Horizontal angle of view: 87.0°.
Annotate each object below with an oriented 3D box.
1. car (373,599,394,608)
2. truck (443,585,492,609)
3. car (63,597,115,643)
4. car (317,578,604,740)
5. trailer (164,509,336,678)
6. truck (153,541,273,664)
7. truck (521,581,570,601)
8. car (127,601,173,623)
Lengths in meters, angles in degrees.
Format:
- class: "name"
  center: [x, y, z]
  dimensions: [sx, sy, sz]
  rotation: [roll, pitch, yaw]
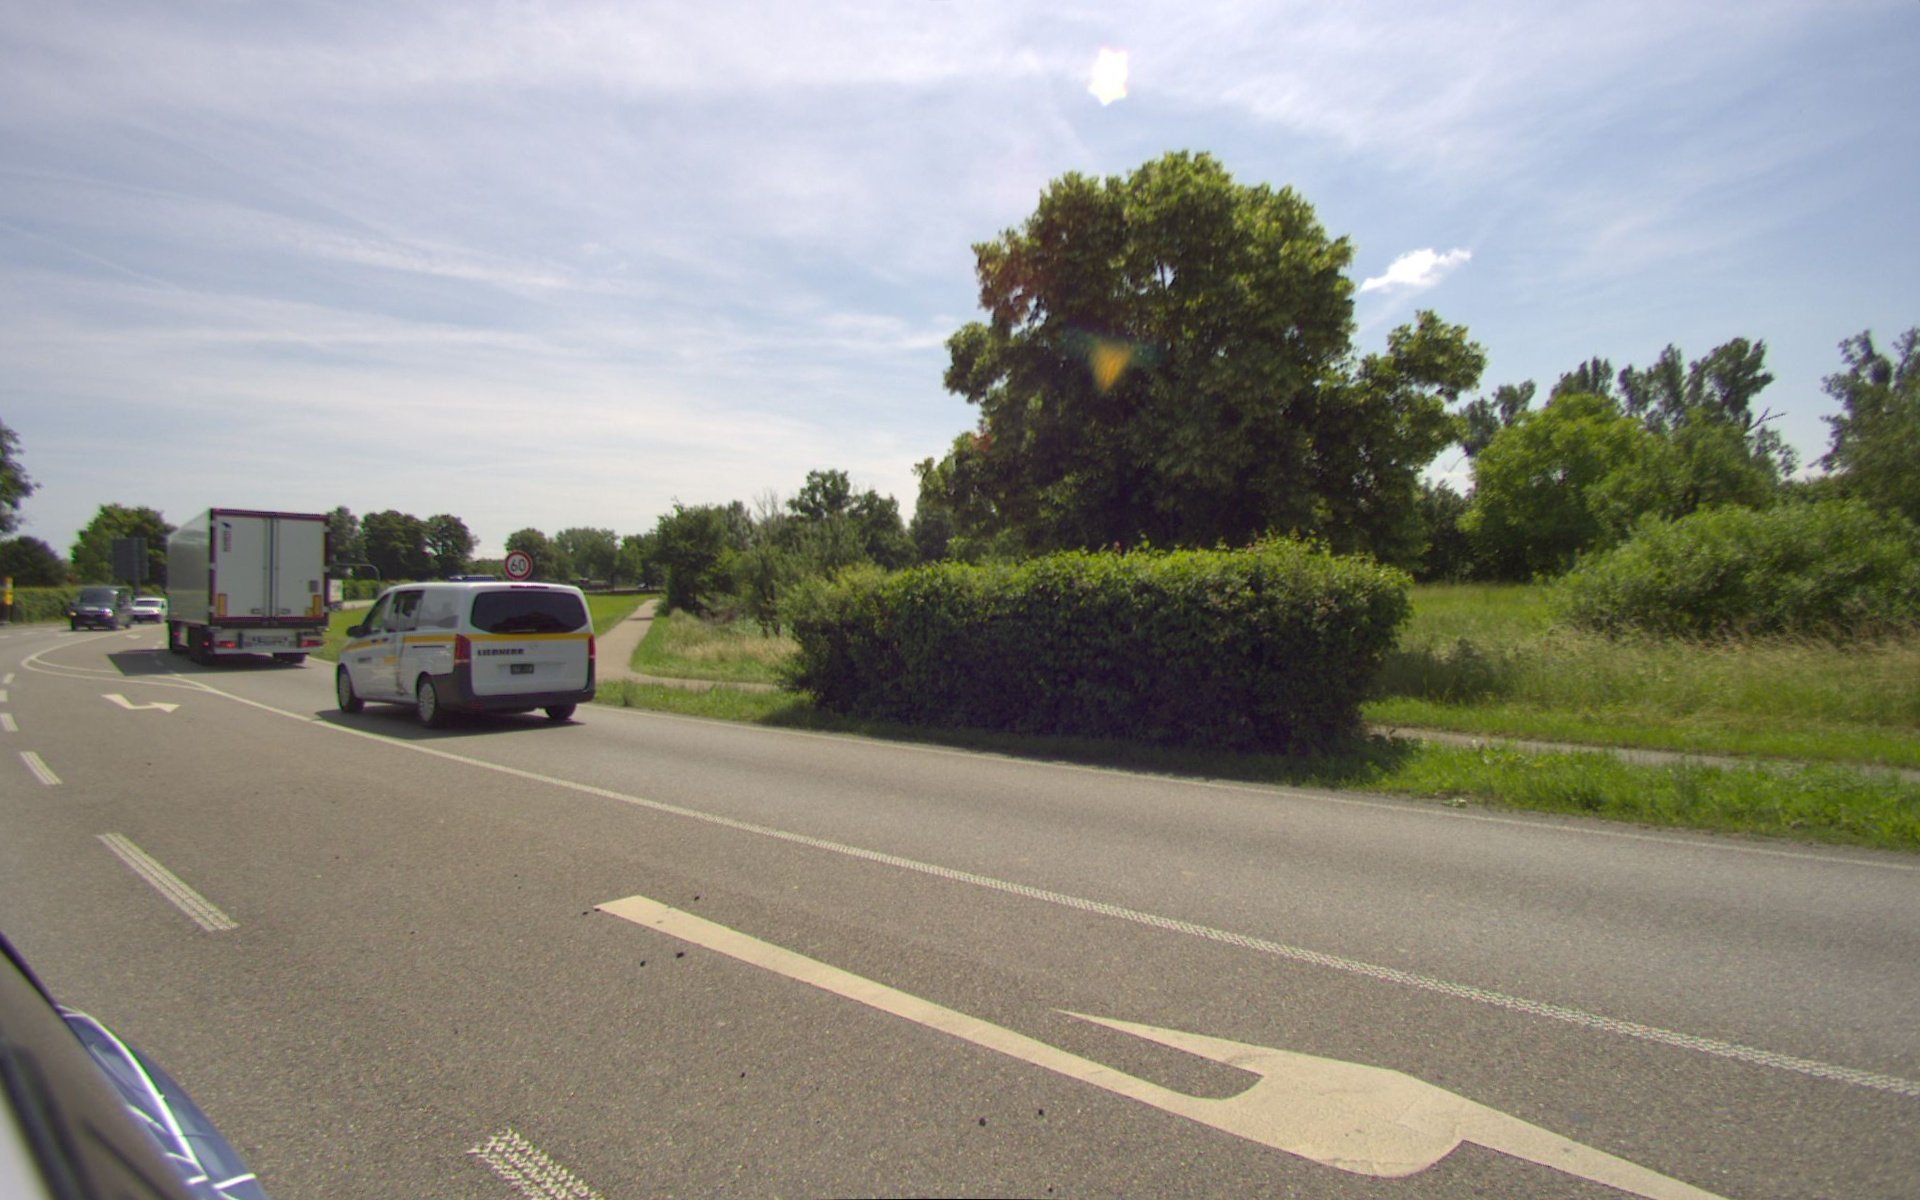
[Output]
- class: "car"
  center: [-97.563, 0.558, 171.283]
  dimensions: [1.755, 1.504, 4.167]
  rotation: [0, 0, -11]
- class: "truck"
  center: [-97.816, -0.575, 201.213]
  dimensions: [2.706, 4.643, 16.172]
  rotation: [0, 0, -3]
- class: "car"
  center: [-49.858, 1.119, 57.898]
  dimensions: [4.159, 2.538, 1.953]
  rotation: [0, 0, 45]
- class: "car"
  center: [-7.147, 0.752, 14.171]
  dimensions: [5.140, 1.879, 1.853]
  rotation: [-2, -1, 42]
- class: "trailer"
  center: [-21.438, -0.057, 30.145]
  dimensions: [2.744, 4.133, 11.675]
  rotation: [2, -2, -42]
- class: "truck"
  center: [-26.491, 0.148, 35.785]
  dimensions: [2.744, 3.973, 5.712]
  rotation: [2, -2, -42]
- class: "truck"
  center: [-96.190, -2.070, 235.227]
  dimensions: [2.715, 4.643, 16.117]
  rotation: [0, 0, 9]
- class: "car"
  center: [-57.886, 0.836, 72.404]
  dimensions: [1.753, 1.504, 4.171]
  rotation: [0, 0, -27]
